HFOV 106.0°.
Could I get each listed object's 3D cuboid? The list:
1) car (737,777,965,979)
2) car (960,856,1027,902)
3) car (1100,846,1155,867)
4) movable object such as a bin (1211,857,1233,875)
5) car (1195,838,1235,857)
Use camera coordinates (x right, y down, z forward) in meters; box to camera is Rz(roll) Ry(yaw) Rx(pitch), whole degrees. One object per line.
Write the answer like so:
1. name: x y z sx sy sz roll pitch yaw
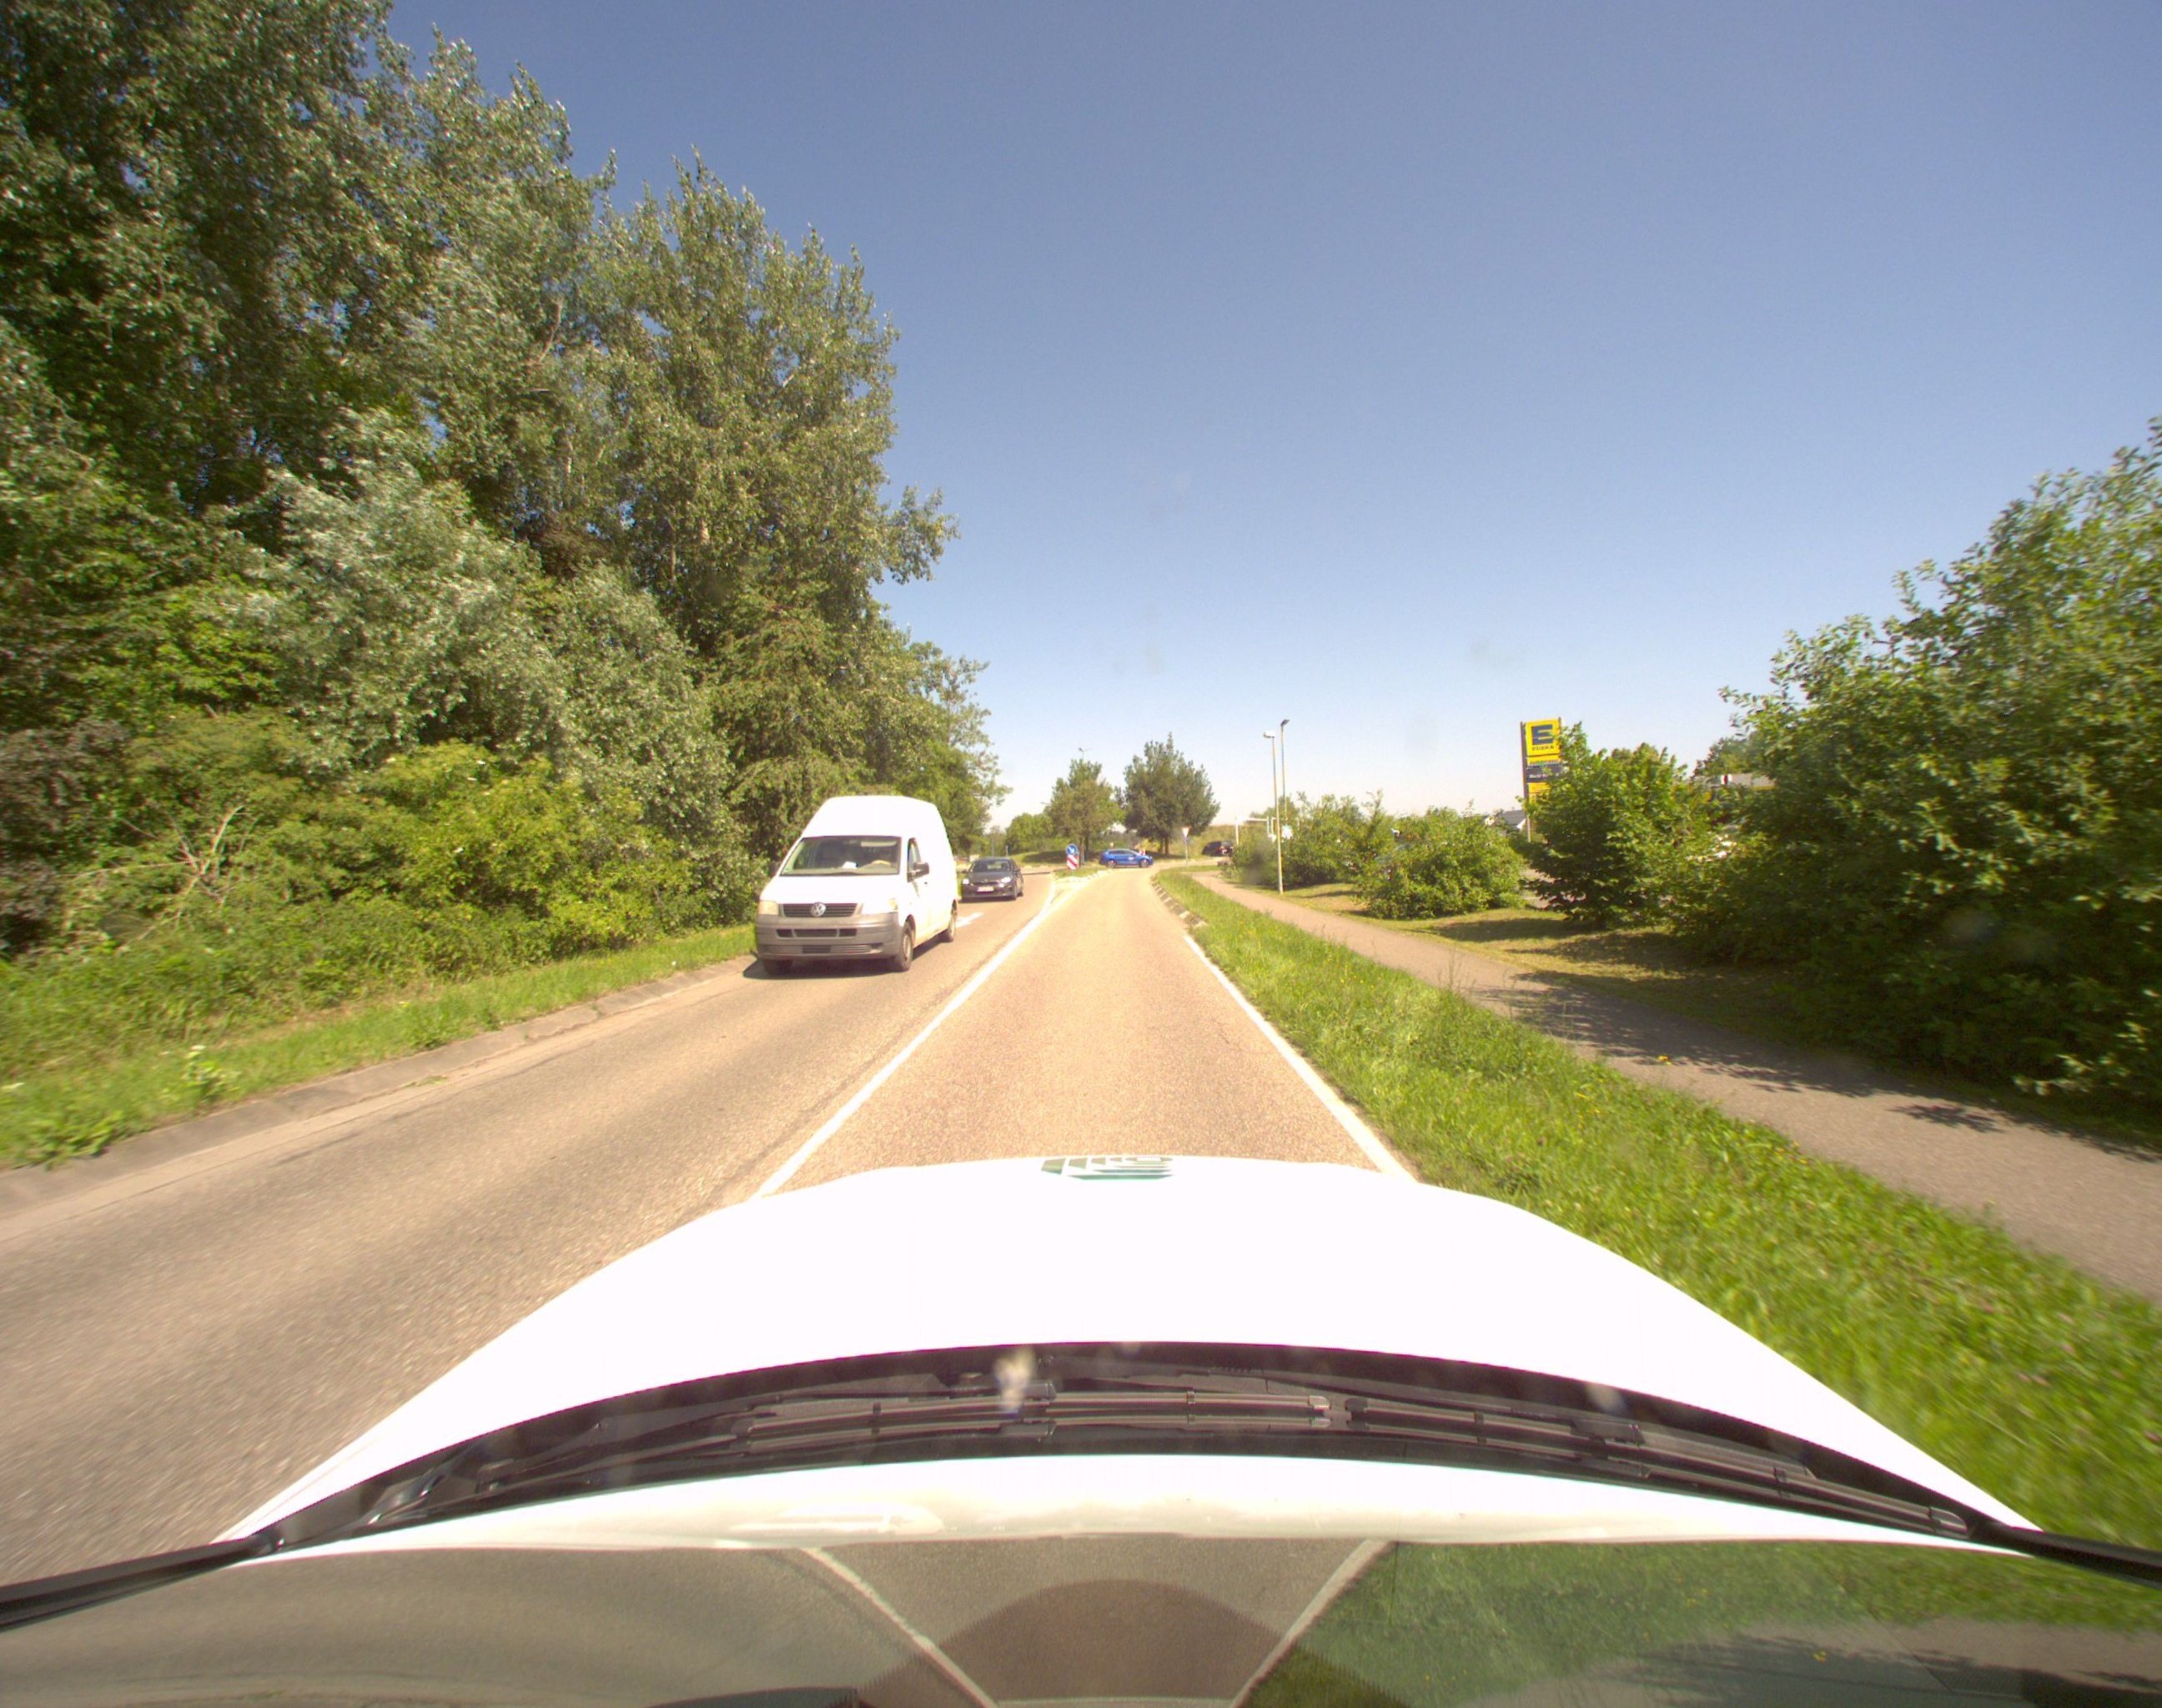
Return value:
1. car: -3.148 0.282 12.380 1.905 2.400 4.911 -2 0 1
2. car: -2.948 0.810 28.173 1.692 1.389 4.295 -2 0 1
3. car: 3.898 0.173 68.245 4.403 1.571 1.715 -2 0 -3
4. movable object such as a bin: 9.008 0.753 52.045 0.859 1.120 1.464 -1 0 30
5. car: 14.986 -0.694 91.163 2.010 2.013 3.954 -2 0 -38
